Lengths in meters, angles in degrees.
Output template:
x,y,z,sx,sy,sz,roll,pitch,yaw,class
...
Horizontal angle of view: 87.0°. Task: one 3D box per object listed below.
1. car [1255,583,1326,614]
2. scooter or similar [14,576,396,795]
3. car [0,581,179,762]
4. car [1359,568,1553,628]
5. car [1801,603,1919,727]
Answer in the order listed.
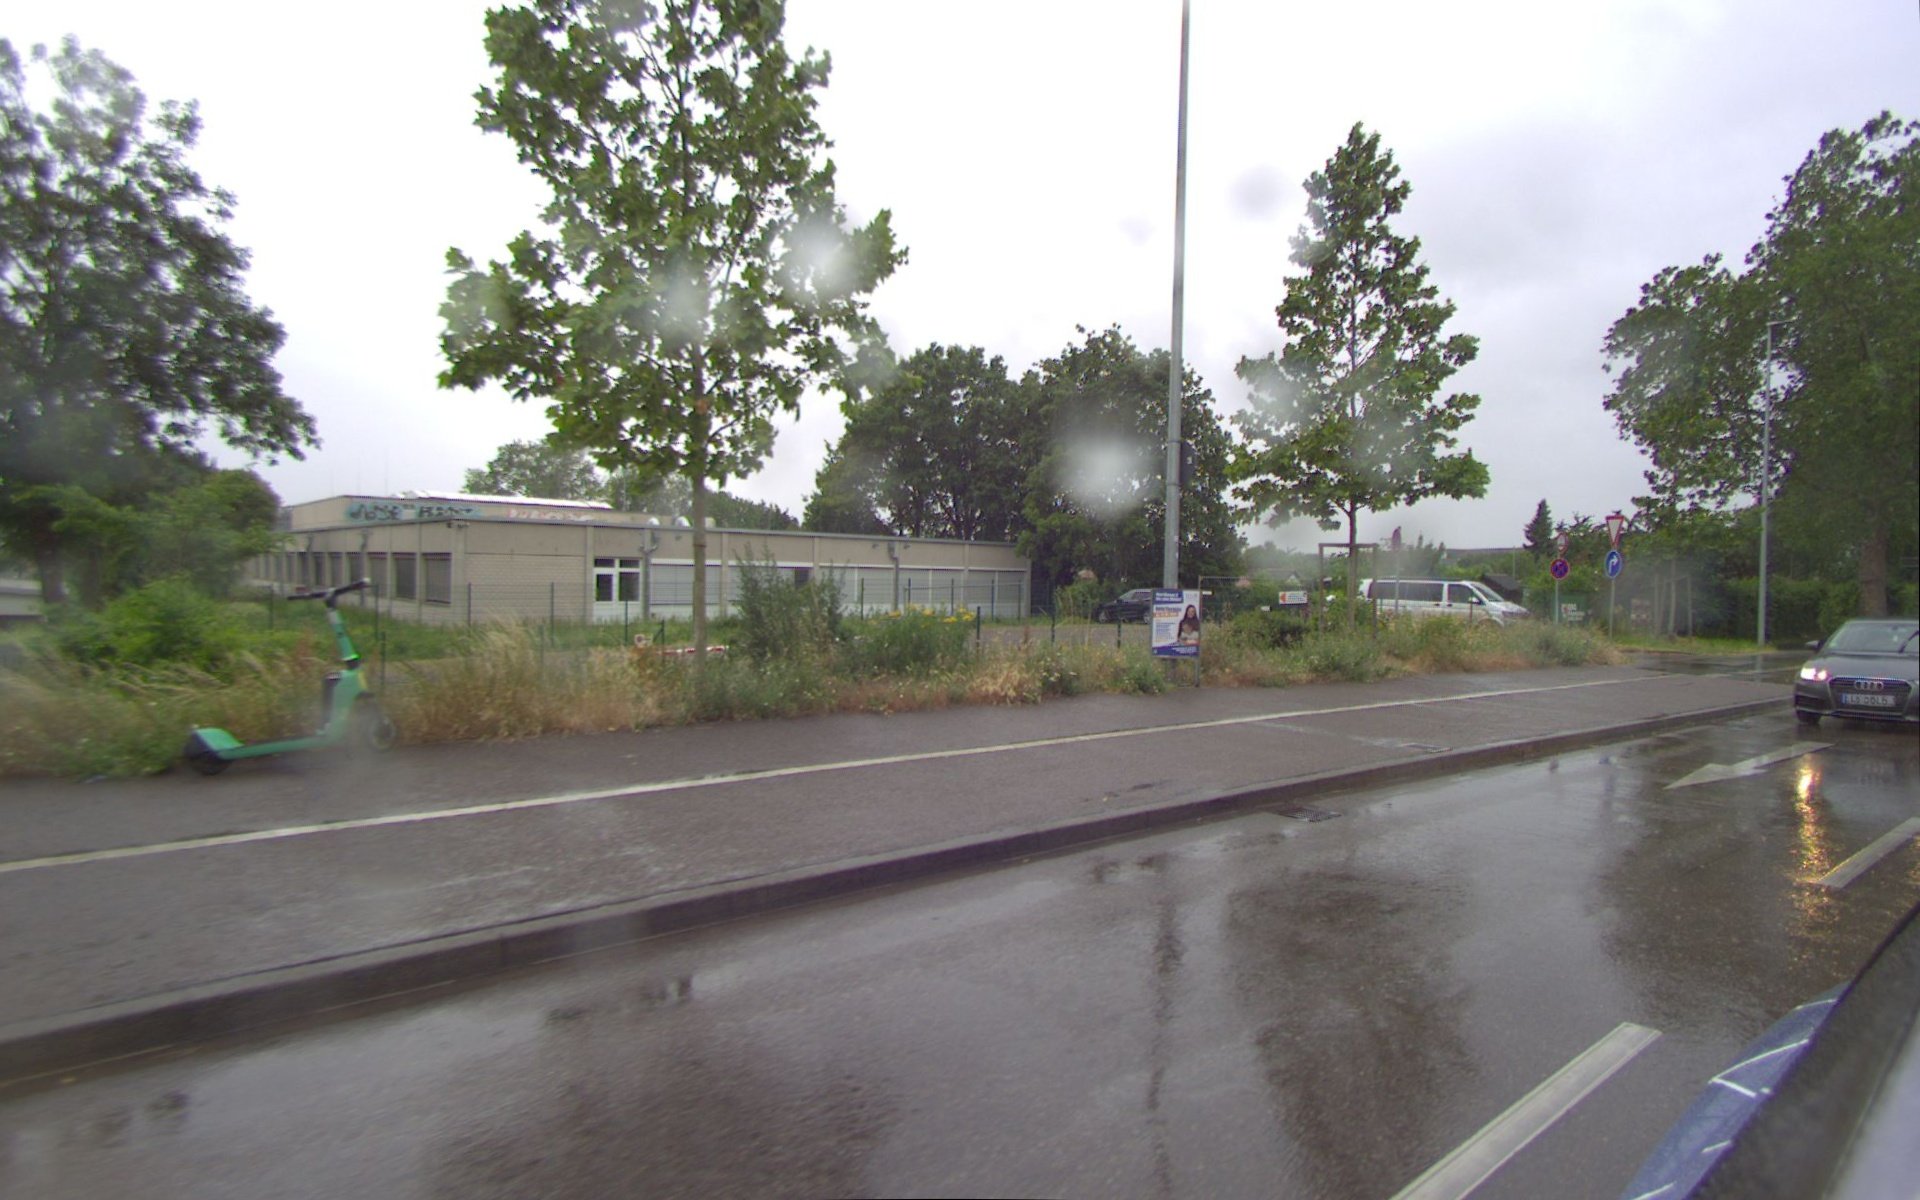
x,y,z,sx,sy,sz,roll,pitch,yaw,class
17.759,-0.101,54.460,1.320,1.604,3.555,0,0,-36,car
-4.621,0.464,6.336,1.878,1.214,0.367,0,0,-39,scooter or similar
-7.647,0.504,8.764,1.320,1.304,3.245,0,0,-36,car
15.569,-0.076,32.005,1.973,1.747,5.166,0,0,-43,car
12.511,0.786,13.298,3.566,1.383,1.601,0,2,-40,car
